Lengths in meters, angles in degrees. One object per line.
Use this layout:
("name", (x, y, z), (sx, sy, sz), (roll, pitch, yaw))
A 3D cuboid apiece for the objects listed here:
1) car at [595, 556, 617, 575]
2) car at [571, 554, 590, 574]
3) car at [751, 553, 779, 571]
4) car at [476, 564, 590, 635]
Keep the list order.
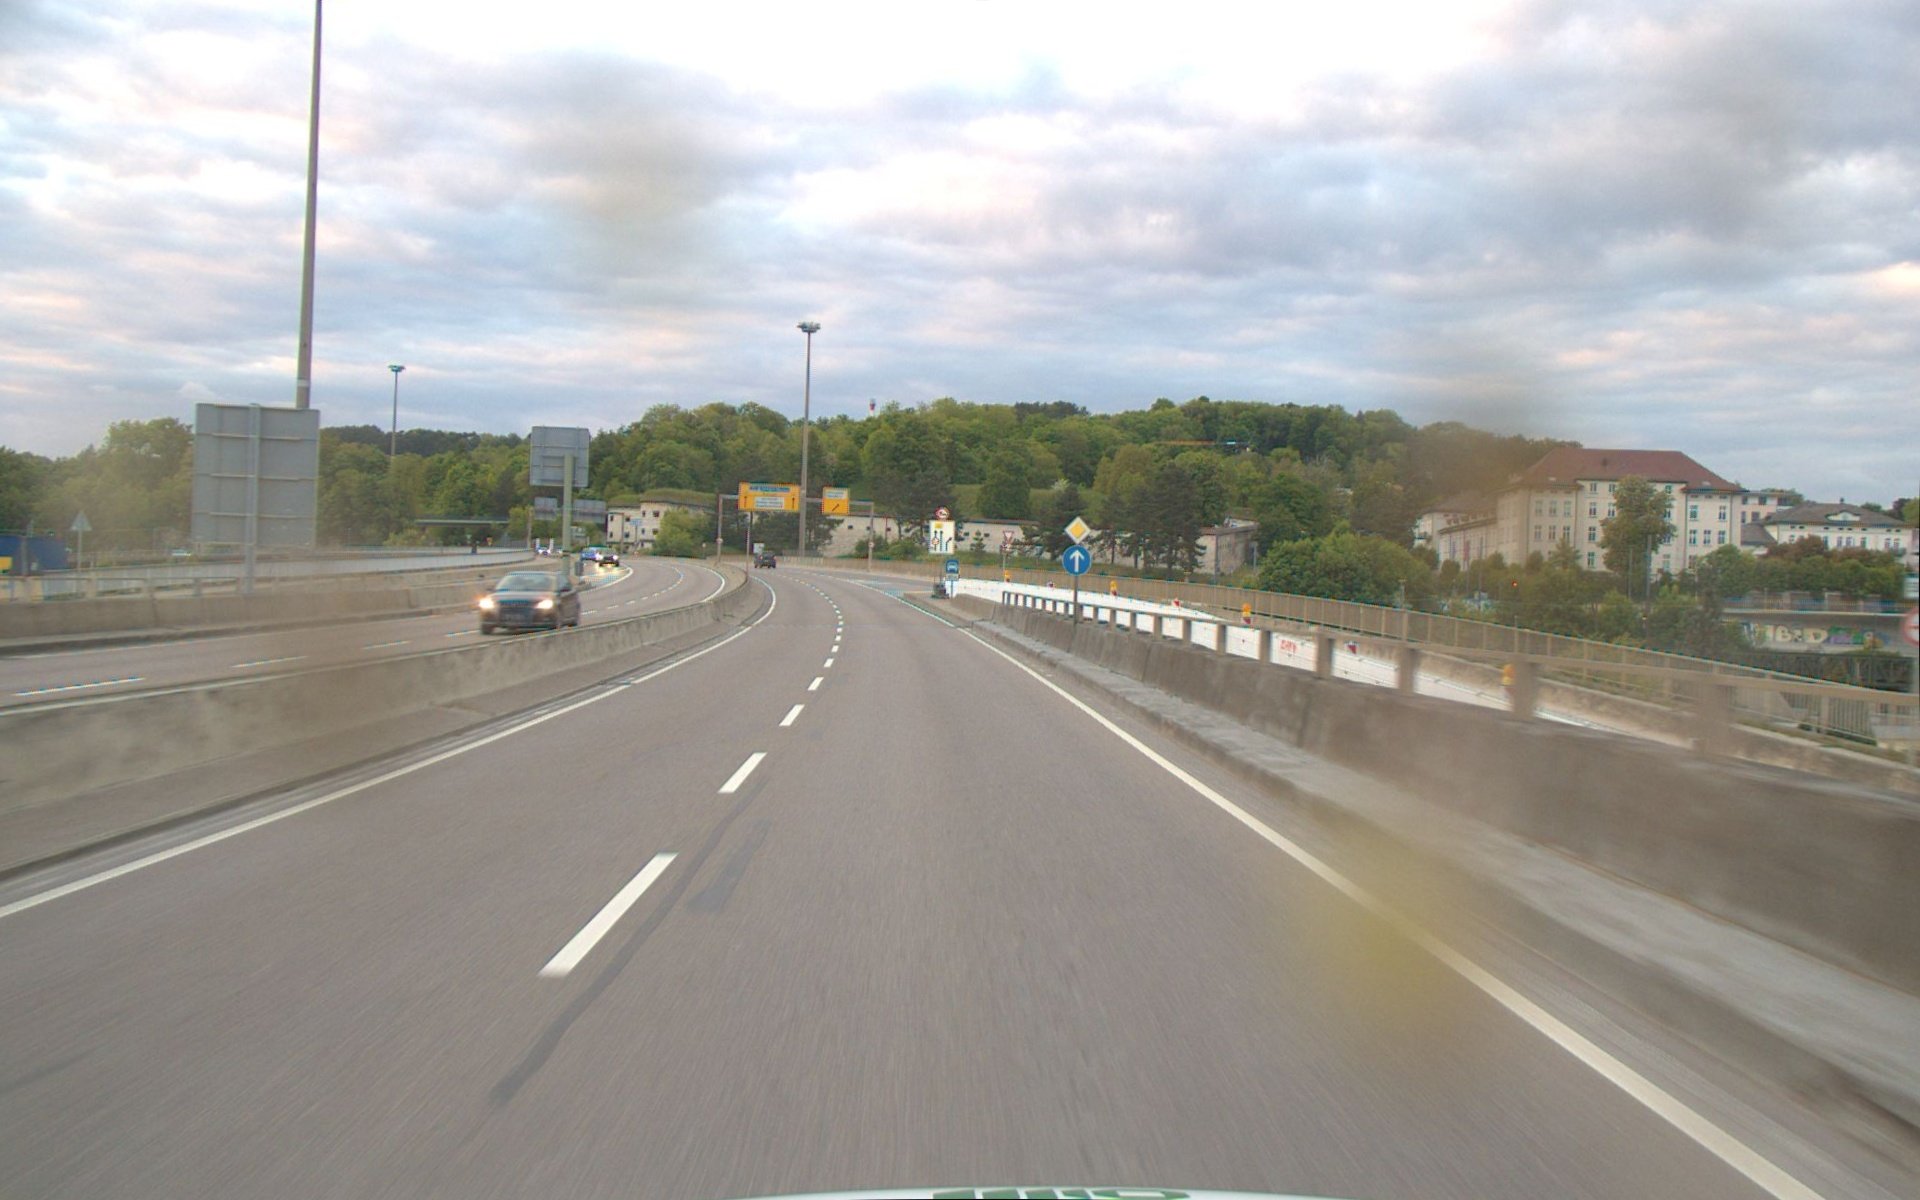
("car", (-33.436, -3.258, 156.277), (1.605, 1.747, 3.994), (-3, 1, -7))
("car", (-44.930, -4.305, 195.931), (1.960, 2.047, 3.989), (7, 1, -12))
("car", (-21.071, -4.171, 178.981), (2.268, 1.794, 4.243), (3, 1, -17))
("car", (-9.835, -0.018, 38.374), (1.793, 1.506, 4.283), (1, 0, -4))
